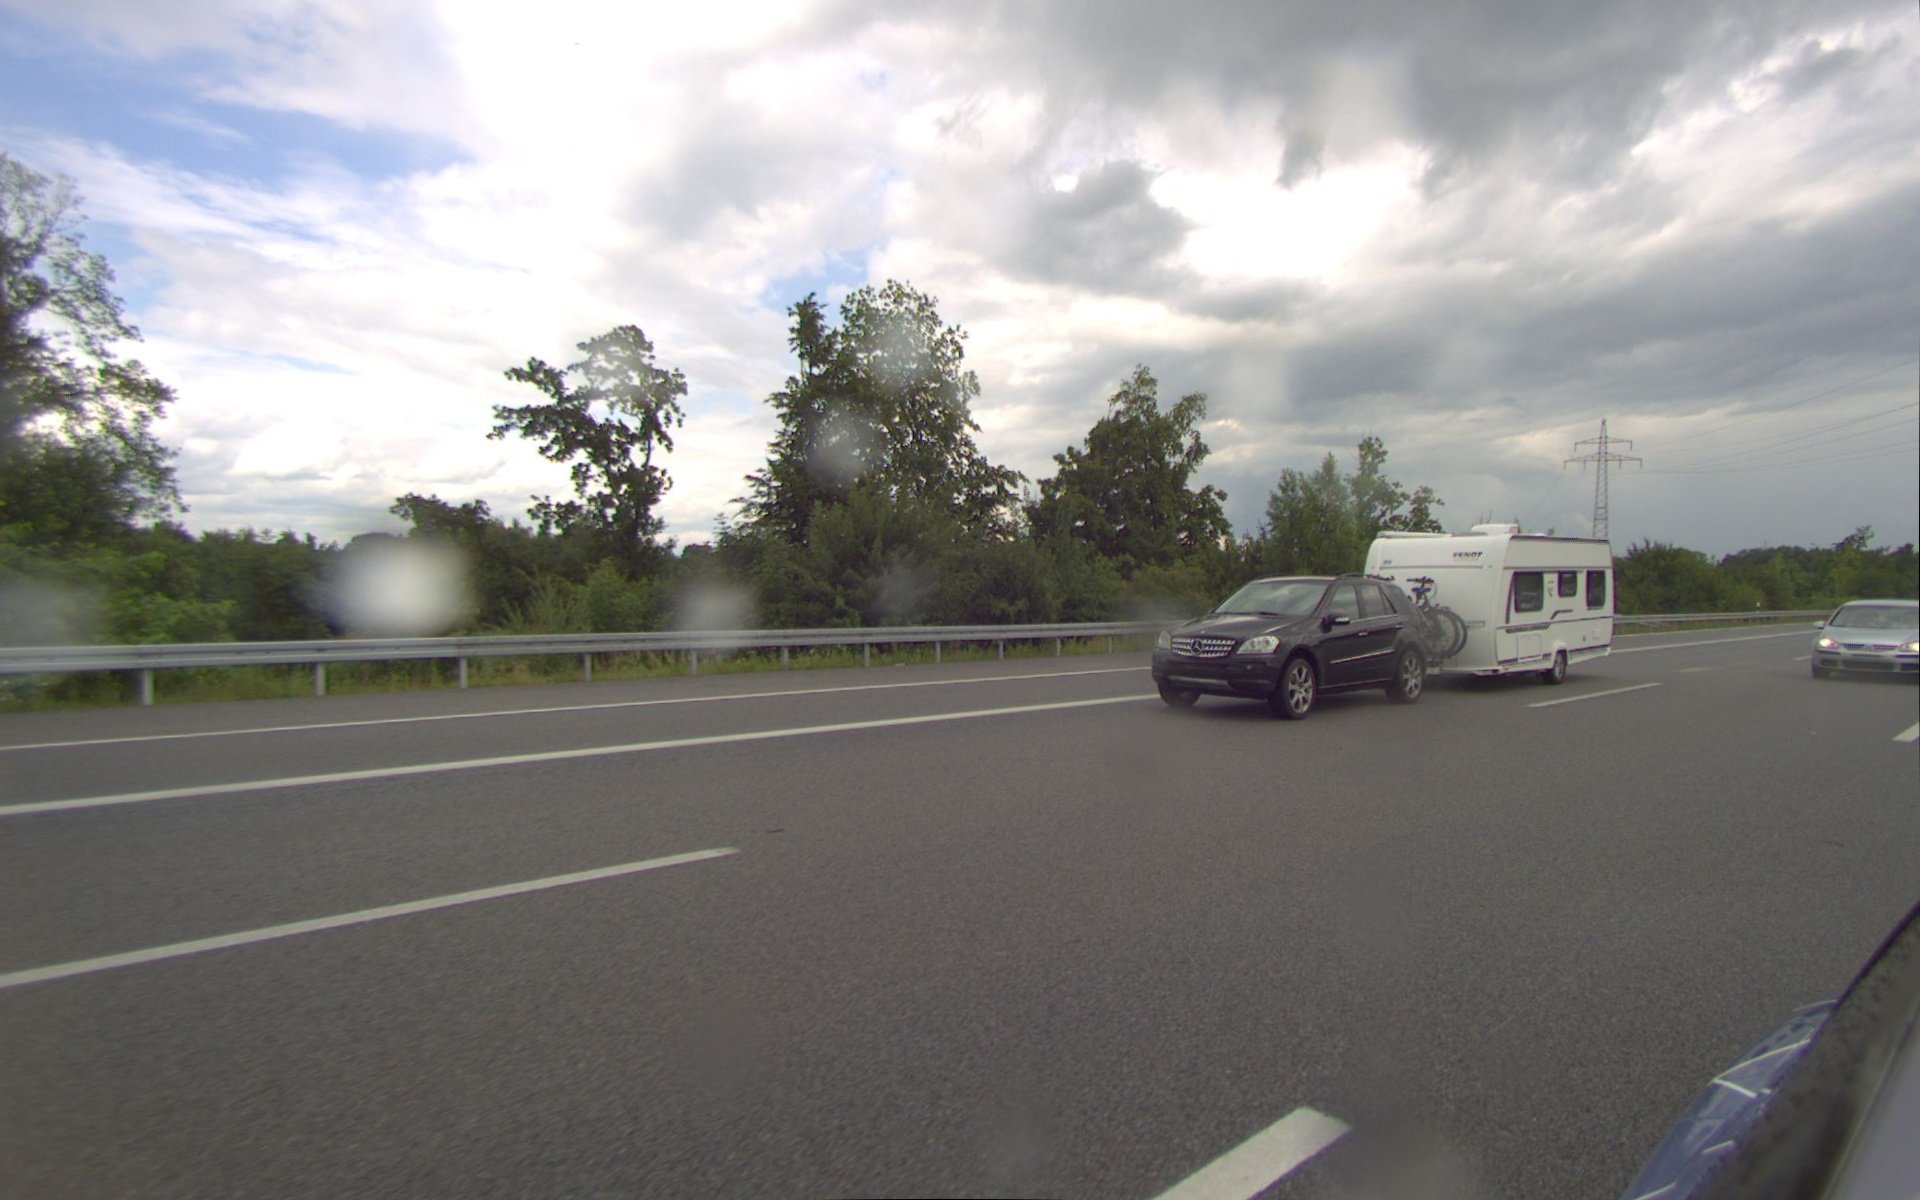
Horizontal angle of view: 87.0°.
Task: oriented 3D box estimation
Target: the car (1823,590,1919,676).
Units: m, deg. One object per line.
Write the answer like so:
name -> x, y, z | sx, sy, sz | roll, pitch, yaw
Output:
car -> 17.693, 0.560, 19.025 | 3.930, 1.464, 1.682 | 0, 1, -41

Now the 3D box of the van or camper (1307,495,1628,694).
van or camper -> 8.903, -0.101, 17.307 | 7.082, 2.773, 2.388 | 0, 0, -41

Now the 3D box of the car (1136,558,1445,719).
car -> 4.501, 0.408, 13.459 | 4.423, 1.798, 1.923 | 0, 1, -41
